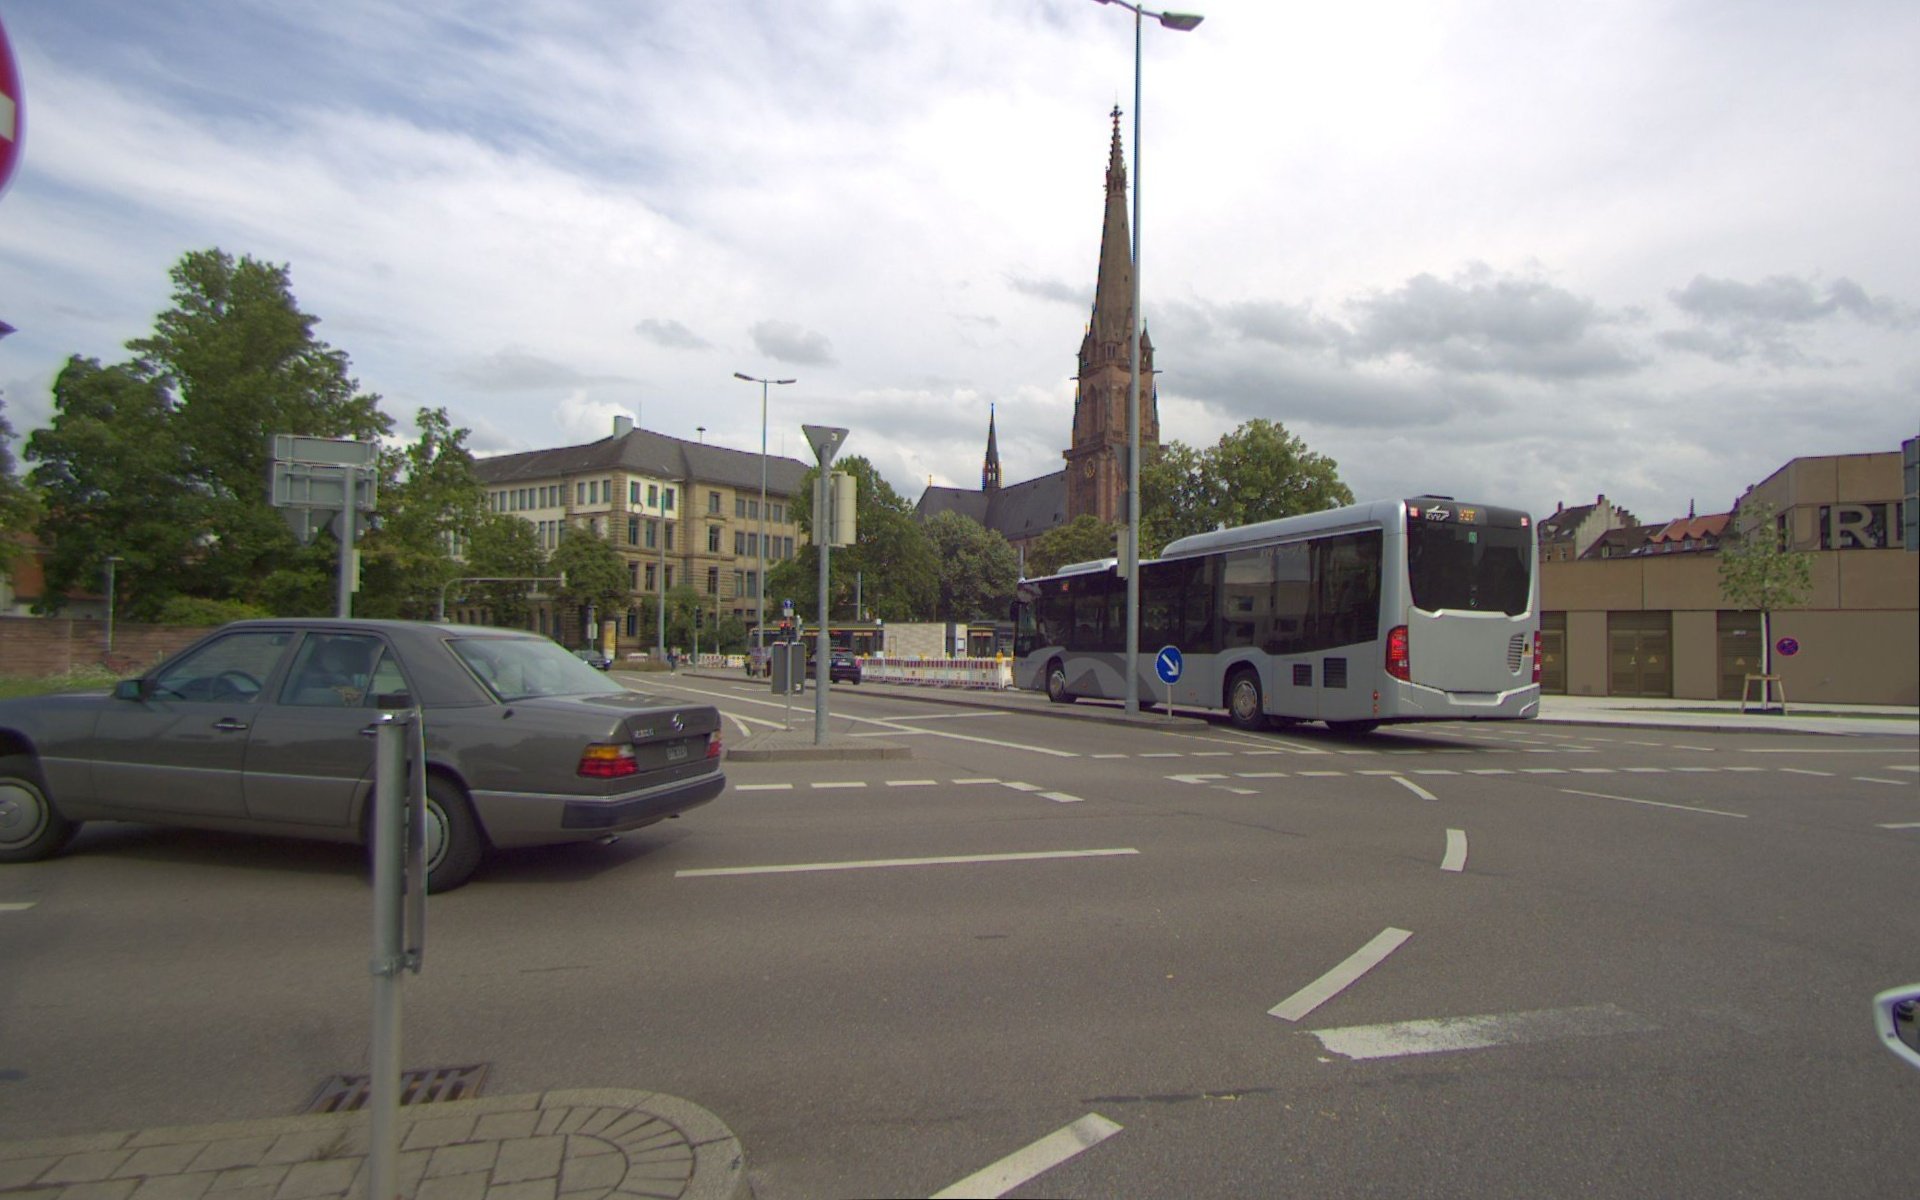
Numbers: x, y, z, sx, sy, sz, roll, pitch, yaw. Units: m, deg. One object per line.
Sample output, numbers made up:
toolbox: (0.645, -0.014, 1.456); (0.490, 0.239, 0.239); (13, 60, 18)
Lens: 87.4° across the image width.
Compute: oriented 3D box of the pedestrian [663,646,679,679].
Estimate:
pedestrian: (-16.064, 3.464, 55.810); (0.788, 1.733, 0.836); (2, -1, -21)

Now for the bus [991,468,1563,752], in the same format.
bus: (4.348, 0.585, 19.422); (2.671, 3.482, 14.129); (2, -4, -19)

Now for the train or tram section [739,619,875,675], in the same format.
train or tram section: (-10.444, 3.112, 68.275); (9.202, 3.321, 3.057); (1, -1, 30)

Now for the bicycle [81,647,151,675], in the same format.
bicycle: (-32.721, 2.352, 38.969); (0.764, 1.018, 1.926); (1, -1, 22)

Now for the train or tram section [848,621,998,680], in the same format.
train or tram section: (-2.416, 3.130, 63.677); (9.261, 3.255, 3.057); (1, -1, 30)

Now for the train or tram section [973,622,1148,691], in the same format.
train or tram section: (5.785, 3.227, 58.899); (9.752, 3.496, 3.057); (1, -1, 30)

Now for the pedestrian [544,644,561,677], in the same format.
pedestrian: (-22.008, 3.262, 54.240); (0.788, 1.733, 0.836); (2, -1, -21)

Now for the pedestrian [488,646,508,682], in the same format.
pedestrian: (-23.425, 3.242, 50.900); (0.788, 1.733, 0.836); (2, -1, -21)

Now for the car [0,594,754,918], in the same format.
car: (-3.677, 0.788, 6.264); (4.326, 1.500, 1.702); (2, -1, 12)

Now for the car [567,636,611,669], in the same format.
car: (-24.961, 3.538, 67.587); (1.978, 2.040, 3.965); (2, -1, -32)

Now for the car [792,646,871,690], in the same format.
car: (-5.201, 2.704, 40.291); (1.974, 1.505, 3.974); (2, -1, -26)

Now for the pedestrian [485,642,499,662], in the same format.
pedestrian: (-47.414, 5.285, 101.743); (0.993, 2.040, 0.886); (-1, -3, 39)

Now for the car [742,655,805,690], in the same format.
car: (-8.869, 3.389, 47.443); (1.972, 1.379, 4.249); (2, -1, -24)

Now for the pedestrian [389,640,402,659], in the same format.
pedestrian: (-61.917, 5.437, 110.228); (0.993, 2.040, 0.886); (-1, -3, 39)
